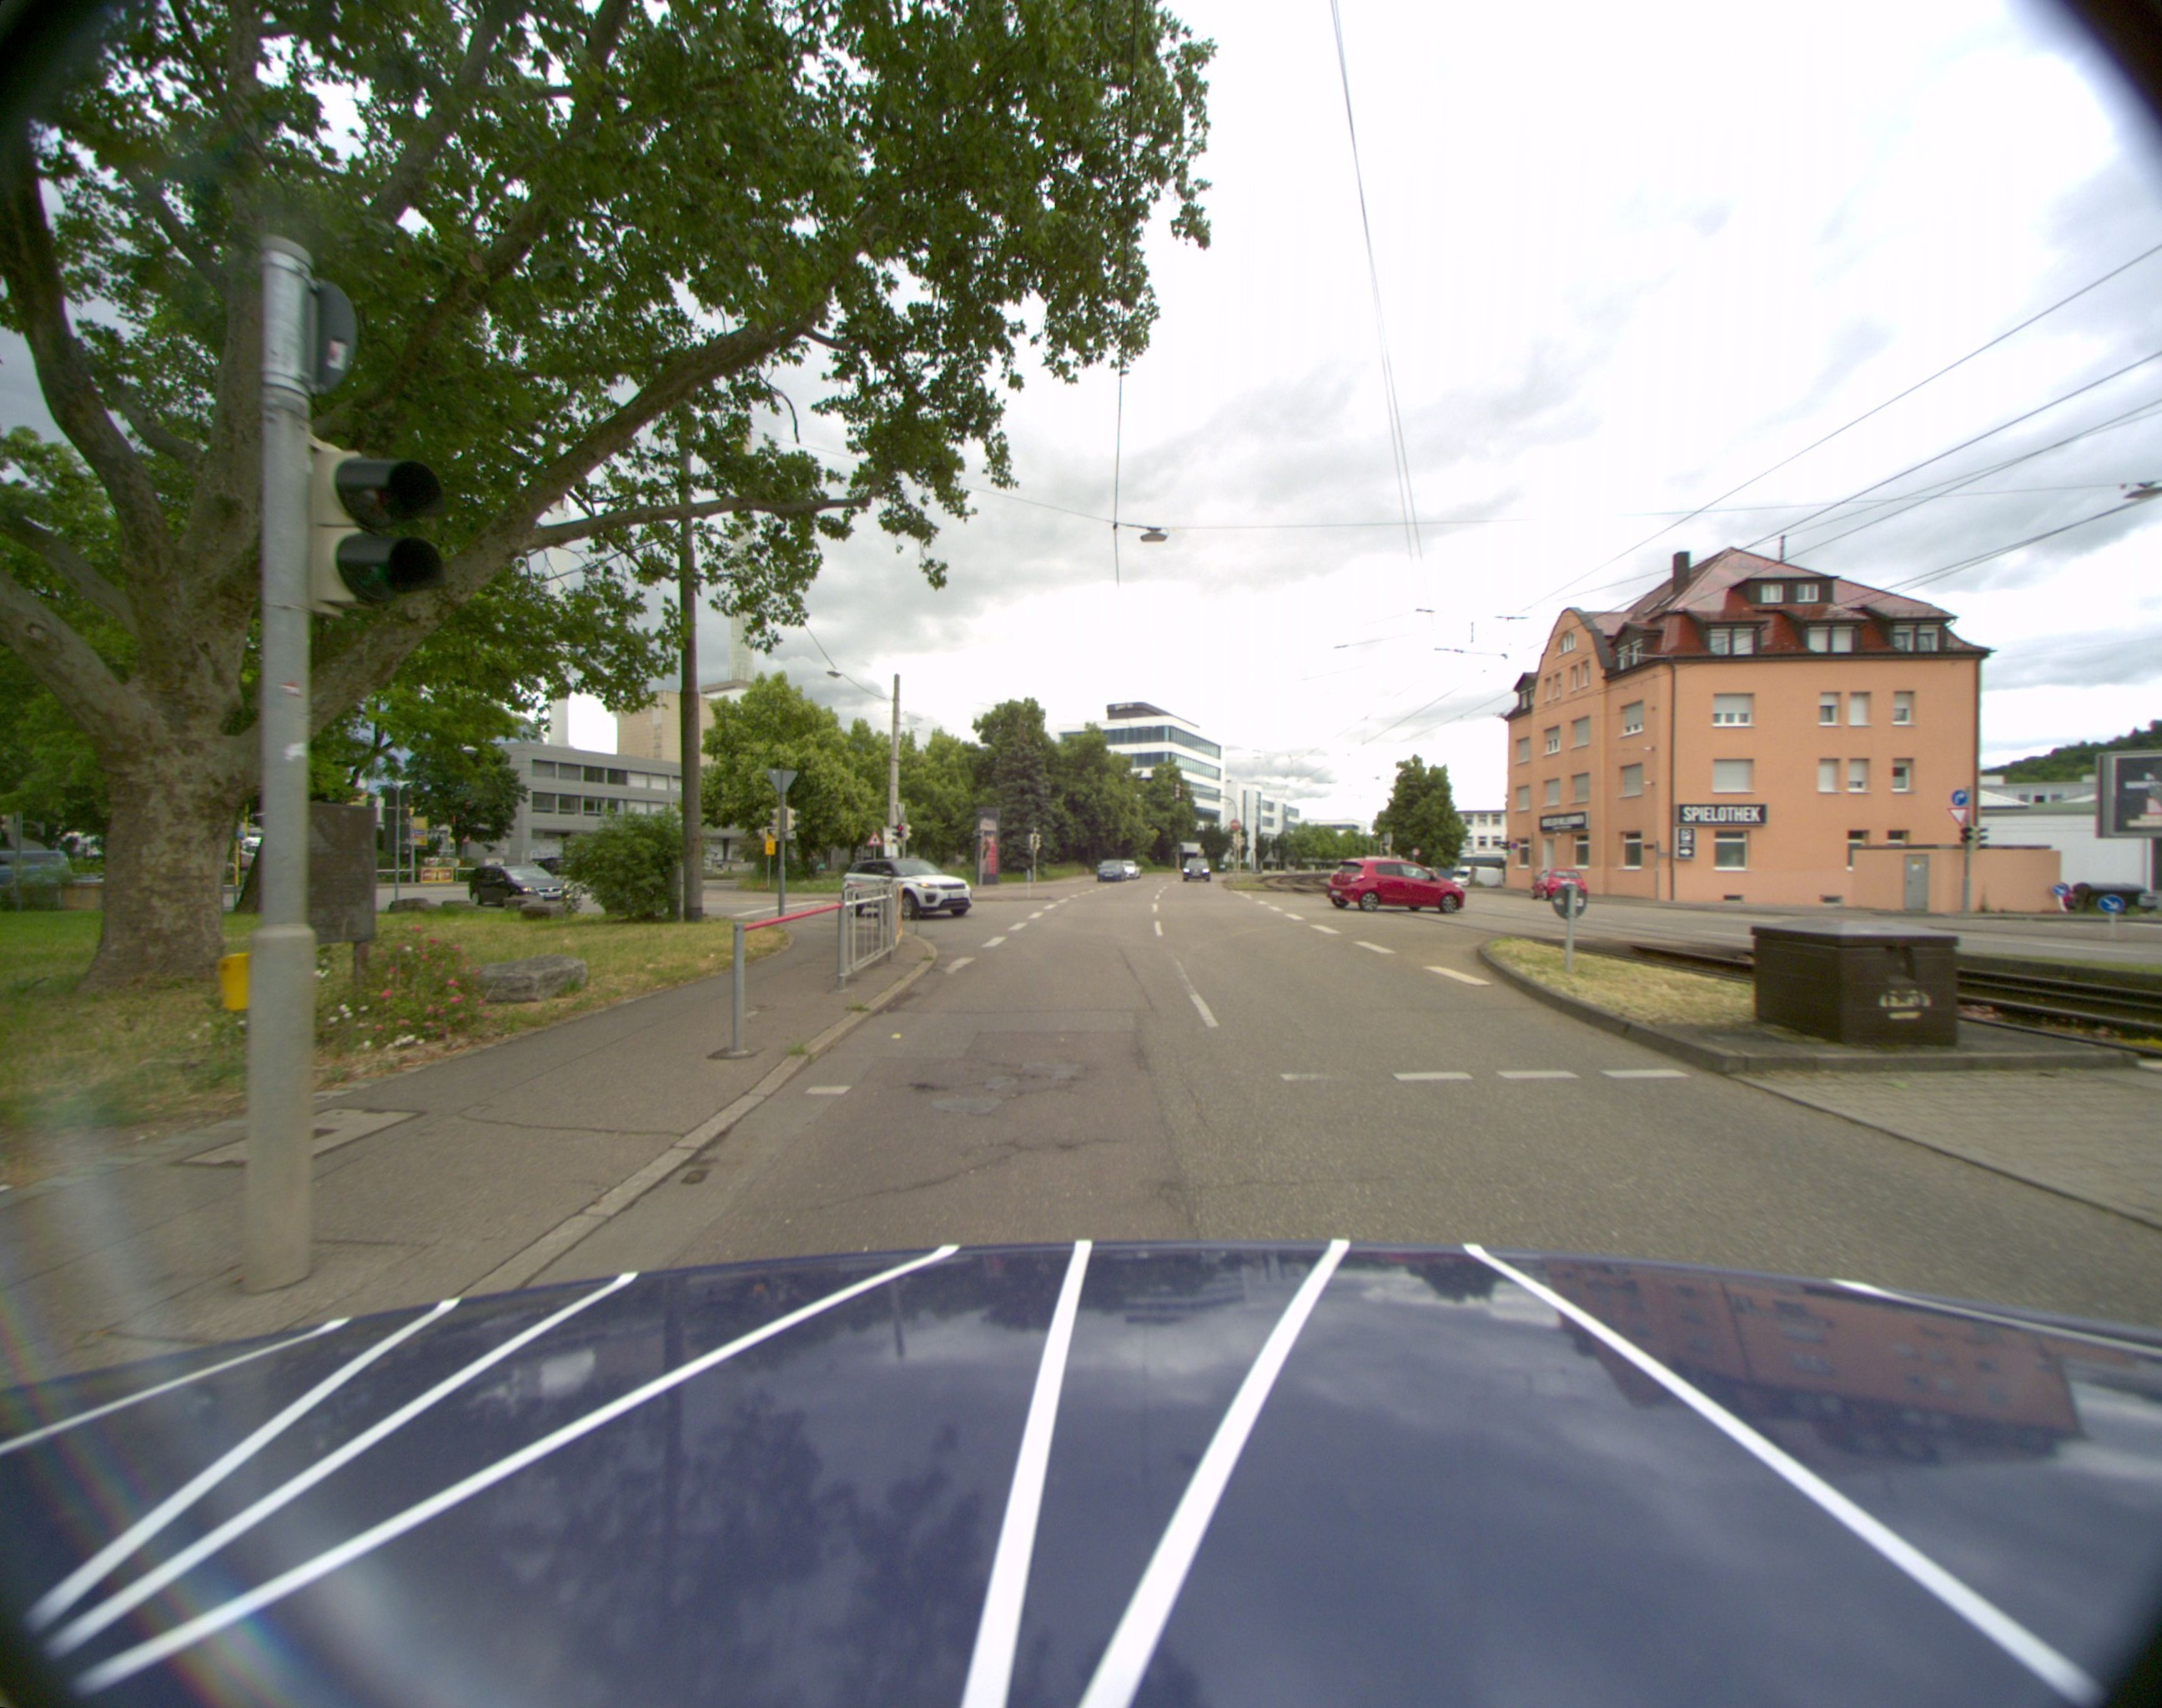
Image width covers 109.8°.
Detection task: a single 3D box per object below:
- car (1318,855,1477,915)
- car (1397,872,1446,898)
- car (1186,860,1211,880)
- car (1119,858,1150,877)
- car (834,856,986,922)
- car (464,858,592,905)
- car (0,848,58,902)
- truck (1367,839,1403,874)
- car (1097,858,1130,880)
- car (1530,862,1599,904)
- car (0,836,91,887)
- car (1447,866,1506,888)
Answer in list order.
[{"bbox_3d":[8.894,0.856,21.539,3.740,1.521,1.766,1,2,-8],"label":"car"},{"bbox_3d":[21.516,1.977,48.151,1.597,1.410,3.377,-2,-6,1],"label":"car"},{"bbox_3d":[8.232,1.092,53.416,1.626,1.324,3.176,0,0,8],"label":"car"},{"bbox_3d":[4.218,0.995,58.963,1.746,1.418,4.170,0,0,13],"label":"car"},{"bbox_3d":[-4.828,0.955,21.213,4.102,1.560,1.921,-3,1,40],"label":"car"},{"bbox_3d":[-21.566,1.052,29.660,4.221,1.761,1.836,0,-2,17],"label":"car"},{"bbox_3d":[-41.515,0.773,27.903,1.996,2.002,4.244,2,0,16],"label":"car"},{"bbox_3d":[22.650,0.169,56.602,2.315,2.407,5.664,3,1,22],"label":"truck"},{"bbox_3d":[2.247,0.994,51.425,1.747,1.384,3.706,0,0,11],"label":"car"},{"bbox_3d":[22.060,1.254,34.838,1.699,1.517,4.003,1,4,18],"label":"car"},{"bbox_3d":[-41.254,0.272,28.402,1.829,1.933,4.809,0,0,16],"label":"car"},{"bbox_3d":[39.993,2.317,76.763,6.308,2.089,1.746,0,0,-24],"label":"car"}]
